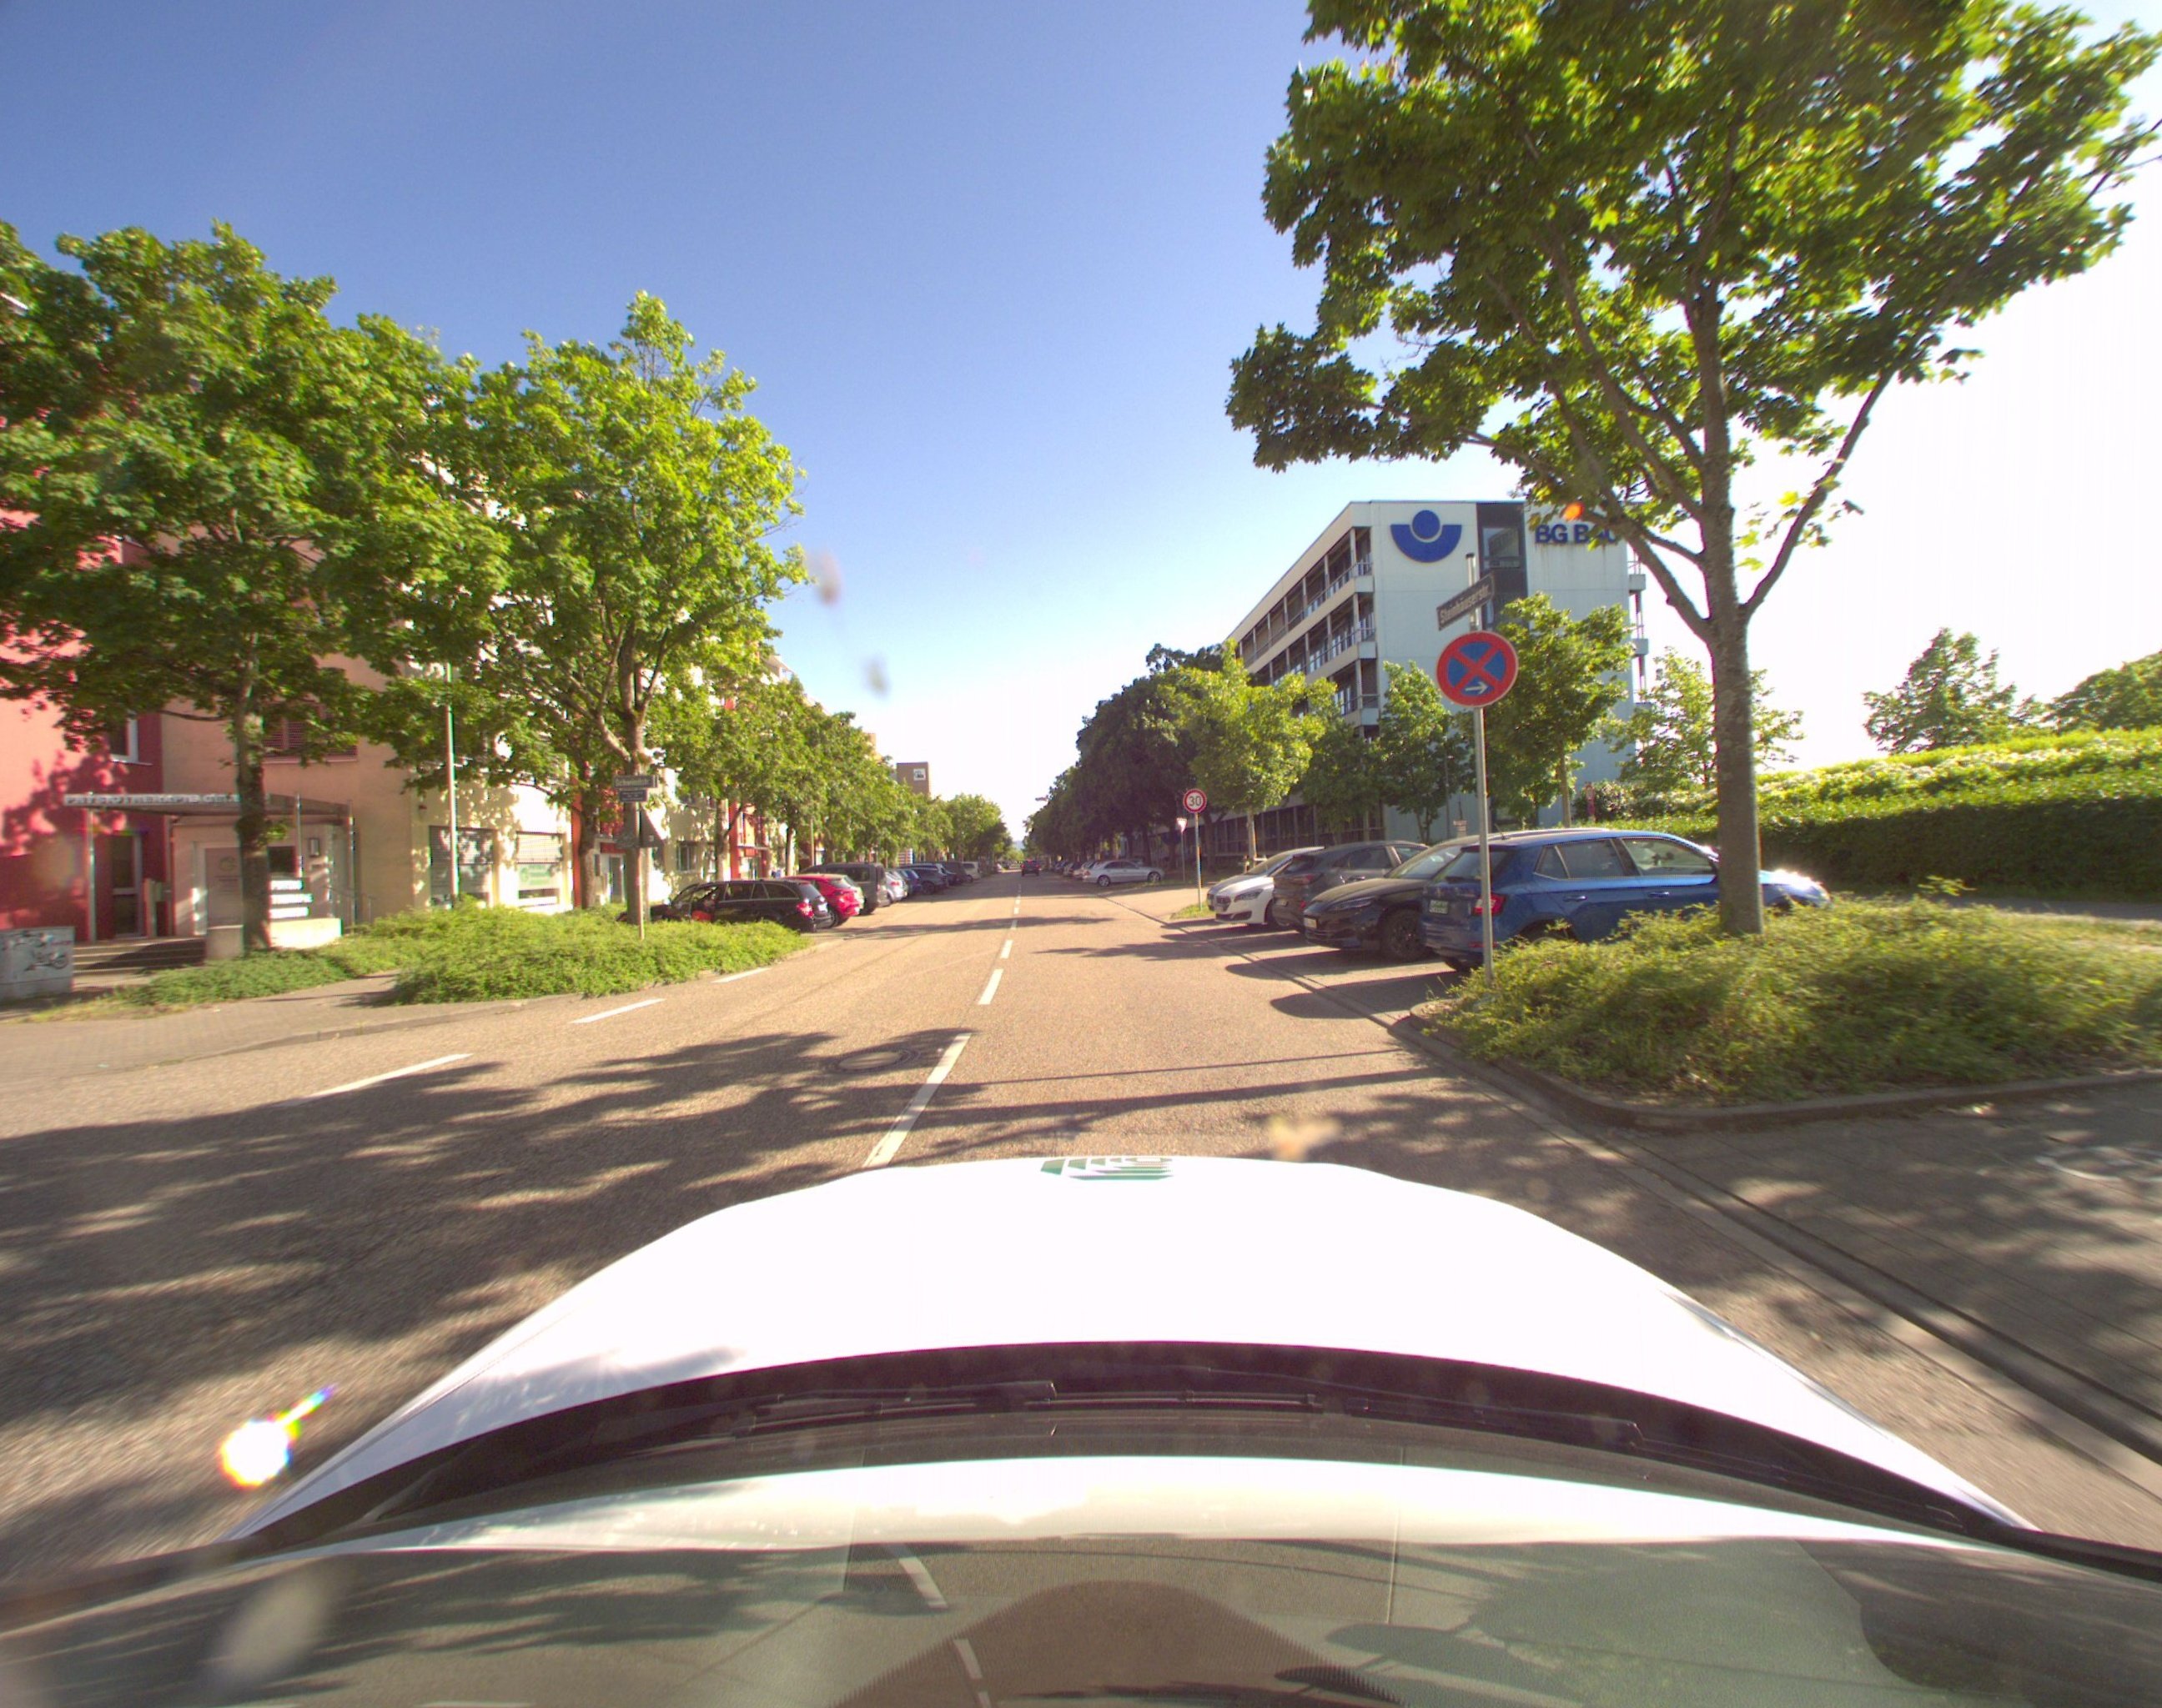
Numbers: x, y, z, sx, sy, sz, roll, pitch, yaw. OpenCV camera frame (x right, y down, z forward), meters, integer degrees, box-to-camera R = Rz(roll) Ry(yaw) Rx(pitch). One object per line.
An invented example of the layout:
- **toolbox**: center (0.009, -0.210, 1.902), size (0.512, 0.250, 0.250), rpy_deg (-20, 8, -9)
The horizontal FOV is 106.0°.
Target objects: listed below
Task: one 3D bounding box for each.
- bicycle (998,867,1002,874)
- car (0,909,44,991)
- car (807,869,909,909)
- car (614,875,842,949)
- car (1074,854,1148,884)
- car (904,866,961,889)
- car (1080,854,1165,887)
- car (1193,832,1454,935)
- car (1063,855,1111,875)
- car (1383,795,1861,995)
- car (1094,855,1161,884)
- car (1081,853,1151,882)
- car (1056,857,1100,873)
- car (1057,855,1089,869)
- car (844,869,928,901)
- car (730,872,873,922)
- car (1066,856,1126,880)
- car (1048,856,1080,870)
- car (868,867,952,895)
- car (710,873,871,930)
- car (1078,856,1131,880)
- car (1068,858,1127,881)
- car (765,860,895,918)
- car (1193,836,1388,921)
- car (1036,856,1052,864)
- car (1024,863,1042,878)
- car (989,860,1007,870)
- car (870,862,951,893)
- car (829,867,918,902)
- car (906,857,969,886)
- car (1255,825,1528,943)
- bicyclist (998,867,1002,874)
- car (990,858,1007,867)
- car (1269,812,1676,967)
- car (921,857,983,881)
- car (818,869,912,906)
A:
- **bicycle**: center (-13.083, 2.612, 131.029), size (0.531, 1.072, 1.299), rpy_deg (-3, 0, -1)
- **car**: center (-20.046, 1.794, 13.237), size (1.737, 1.443, 4.110), rpy_deg (-4, 0, -15)
- **car**: center (-8.958, 1.385, 32.932), size (3.724, 1.447, 1.871), rpy_deg (-1, 0, -8)
- **car**: center (-7.708, 1.250, 18.067), size (4.250, 1.423, 1.739), rpy_deg (-1, 0, -1)
- **car**: center (1.893, 0.938, 51.863), size (4.501, 1.542, 1.921), rpy_deg (-4, 0, -1)
- **car**: center (-10.038, 1.552, 55.118), size (3.727, 1.427, 1.719), rpy_deg (-1, 0, -10)
- **car**: center (2.344, 0.933, 46.420), size (4.569, 1.475, 1.744), rpy_deg (-5, 0, -4)
- **car**: center (4.783, 0.561, 16.381), size (4.551, 1.515, 1.975), rpy_deg (-5, -1, -10)
- **car**: center (0.495, 0.987, 71.625), size (3.965, 1.420, 1.707), rpy_deg (-4, 0, -6)
- **car**: center (5.469, 0.390, 8.580), size (3.796, 1.448, 1.743), rpy_deg (-7, -1, -3)
- **car**: center (2.795, 0.907, 49.405), size (3.826, 1.447, 1.921), rpy_deg (-4, 0, -1)
- **car**: center (2.327, 0.872, 54.282), size (4.500, 1.542, 1.922), rpy_deg (-4, 0, 0)
- **car**: center (-0.385, 1.300, 93.524), size (4.820, 1.420, 2.027), rpy_deg (-4, 0, -6)
- **car**: center (-1.006, 1.014, 101.882), size (3.941, 1.514, 1.810), rpy_deg (-4, 0, -3)
- **car**: center (-9.560, 1.493, 40.163), size (3.720, 1.427, 1.837), rpy_deg (-1, 0, -5)
- **car**: center (-8.691, 1.318, 25.563), size (3.884, 1.423, 1.737), rpy_deg (-1, 0, -4)
- **car**: center (1.203, 1.090, 66.081), size (4.583, 1.493, 1.760), rpy_deg (-5, 0, -5)
- **car**: center (-2.411, 1.288, 116.034), size (4.348, 1.704, 1.808), rpy_deg (-4, 0, -8)
- **car**: center (-9.448, 1.492, 45.308), size (4.397, 1.427, 1.769), rpy_deg (-1, 0, -7)
- **car**: center (-8.067, 1.300, 22.877), size (3.884, 1.423, 1.737), rpy_deg (-1, 0, -4)
- **car**: center (1.757, 1.039, 61.479), size (3.742, 1.493, 1.612), rpy_deg (-4, 0, -9)
- **car**: center (1.270, 1.210, 63.775), size (4.281, 1.493, 1.999), rpy_deg (-4, 0, -7)
- **car**: center (-8.459, 1.142, 27.712), size (3.884, 1.811, 1.783), rpy_deg (-1, 0, -4)
- **car**: center (4.832, 0.551, 19.001), size (3.949, 1.515, 1.695), rpy_deg (-5, -1, -11)
- **car**: center (-10.010, 1.541, 219.382), size (3.982, 2.013, 1.996), rpy_deg (-3, 0, -6)
- **car**: center (-5.506, 1.895, 92.631), size (1.990, 1.640, 3.994), rpy_deg (-1, -1, -4)
- **car**: center (-20.046, 2.613, 196.628), size (3.975, 2.013, 2.000), rpy_deg (-3, 0, -1)
- **car**: center (-9.990, 1.374, 47.900), size (4.306, 1.717, 1.962), rpy_deg (-1, 0, 0)
- **car**: center (-9.585, 1.401, 37.819), size (3.720, 1.508, 1.856), rpy_deg (-1, 0, -5)
- **car**: center (-10.990, 1.320, 62.562), size (4.477, 2.090, 2.081), rpy_deg (-1, 0, -3)
- **car**: center (5.155, 0.476, 13.843), size (3.868, 1.515, 1.748), rpy_deg (-5, -1, -4)
- **bicyclist**: center (-13.082, 2.585, 131.033), size (0.531, 1.091, 0.794), rpy_deg (-3, 0, -1)
- **car**: center (-20.171, 2.093, 199.712), size (3.975, 2.013, 2.000), rpy_deg (-3, 0, -1)
- **car**: center (5.199, 0.447, 11.291), size (4.541, 1.515, 2.155), rpy_deg (-5, -1, -4)
- **car**: center (-11.438, 1.328, 72.572), size (5.248, 1.967, 1.940), rpy_deg (-1, 0, -5)
- **car**: center (-9.289, 1.421, 35.270), size (3.724, 1.447, 1.855), rpy_deg (-1, 0, -8)
